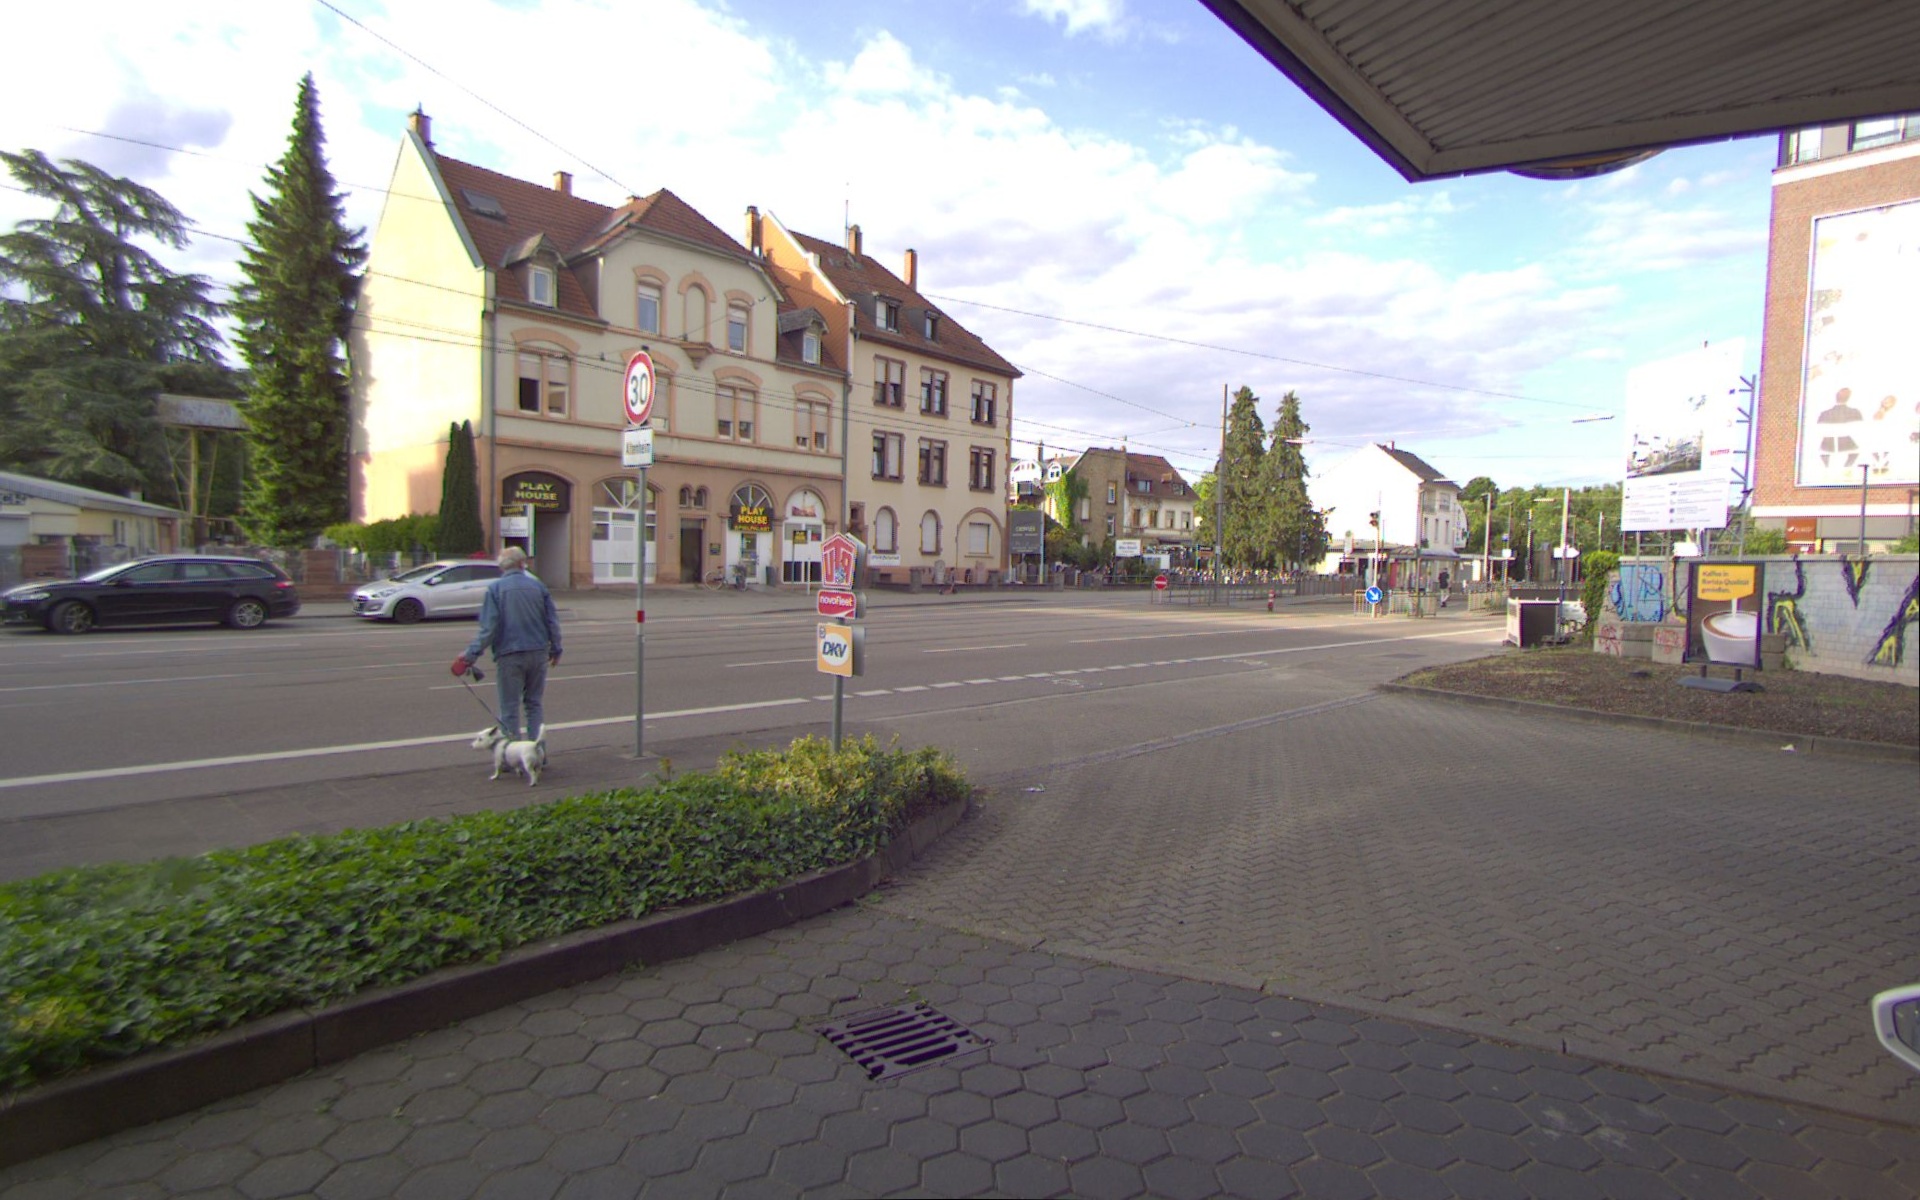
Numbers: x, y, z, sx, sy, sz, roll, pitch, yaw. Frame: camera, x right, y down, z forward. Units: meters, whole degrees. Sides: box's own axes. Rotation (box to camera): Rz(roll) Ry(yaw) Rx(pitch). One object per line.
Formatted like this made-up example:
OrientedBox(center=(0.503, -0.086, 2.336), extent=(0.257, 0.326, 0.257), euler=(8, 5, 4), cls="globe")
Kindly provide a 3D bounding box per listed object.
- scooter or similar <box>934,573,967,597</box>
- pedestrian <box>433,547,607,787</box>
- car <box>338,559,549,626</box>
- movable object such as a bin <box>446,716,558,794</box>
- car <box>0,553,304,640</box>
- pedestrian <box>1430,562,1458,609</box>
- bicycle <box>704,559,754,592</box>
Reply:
OrientedBox(center=(-0.434, -0.665, 45.112), extent=(0.461, 1.041, 1.655), euler=(4, 3, 40), cls="scooter or similar")
OrientedBox(center=(-3.407, 0.456, 7.765), extent=(0.996, 1.690, 0.959), euler=(0, 3, -41), cls="pedestrian")
OrientedBox(center=(-12.917, -0.235, 25.356), extent=(1.699, 1.503, 4.434), euler=(4, 4, 40), cls="car")
OrientedBox(center=(-3.380, 1.128, 7.417), extent=(0.668, 0.426, 0.479), euler=(3, 2, 34), cls="movable object such as a bin")
OrientedBox(center=(-16.597, -0.140, 20.734), extent=(1.983, 1.520, 4.755), euler=(4, 4, 39), cls="car")
OrientedBox(center=(21.837, -0.652, 45.319), extent=(0.842, 2.040, 0.801), euler=(2, 0, -35), cls="pedestrian")
OrientedBox(center=(-9.104, -0.956, 39.611), extent=(0.665, 1.229, 1.862), euler=(4, 2, 41), cls="bicycle")
